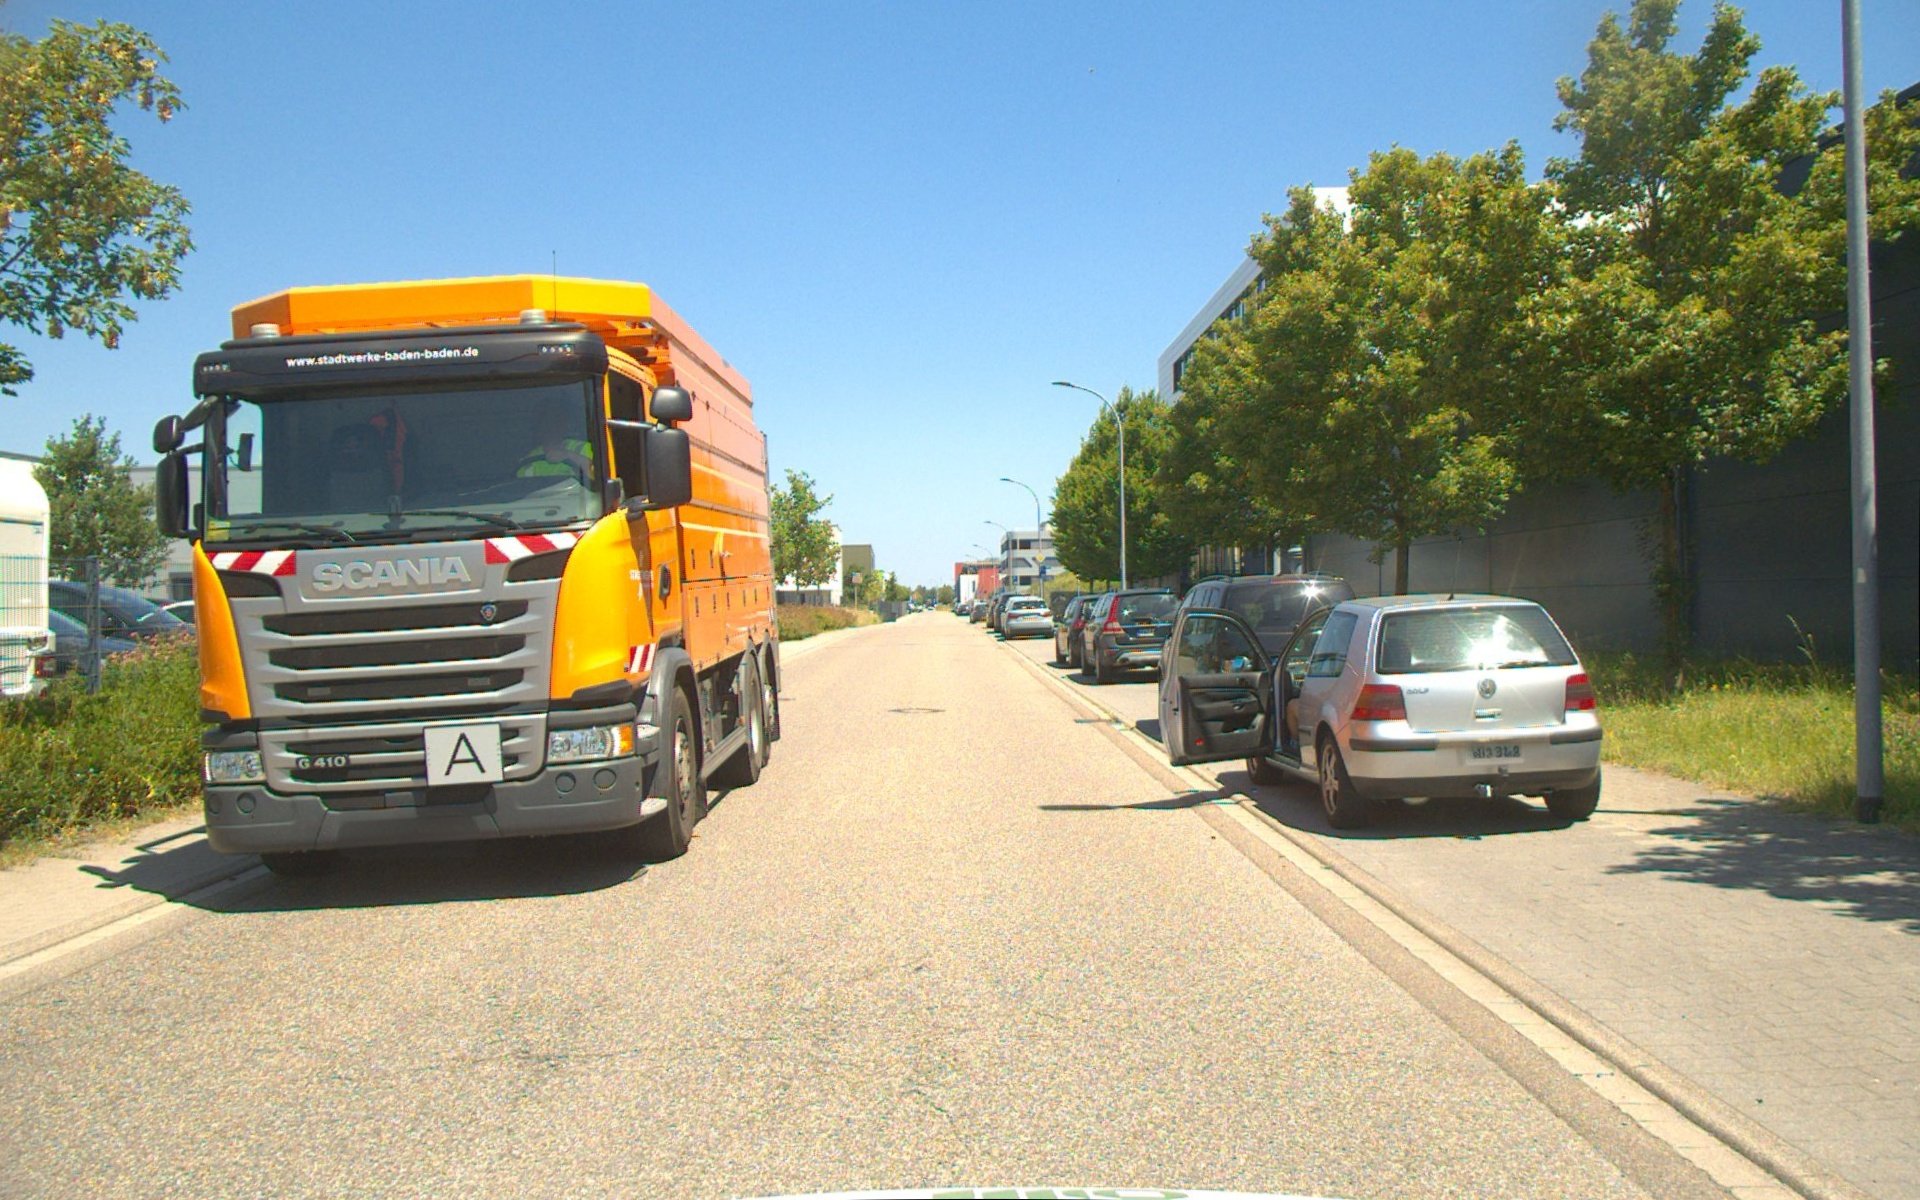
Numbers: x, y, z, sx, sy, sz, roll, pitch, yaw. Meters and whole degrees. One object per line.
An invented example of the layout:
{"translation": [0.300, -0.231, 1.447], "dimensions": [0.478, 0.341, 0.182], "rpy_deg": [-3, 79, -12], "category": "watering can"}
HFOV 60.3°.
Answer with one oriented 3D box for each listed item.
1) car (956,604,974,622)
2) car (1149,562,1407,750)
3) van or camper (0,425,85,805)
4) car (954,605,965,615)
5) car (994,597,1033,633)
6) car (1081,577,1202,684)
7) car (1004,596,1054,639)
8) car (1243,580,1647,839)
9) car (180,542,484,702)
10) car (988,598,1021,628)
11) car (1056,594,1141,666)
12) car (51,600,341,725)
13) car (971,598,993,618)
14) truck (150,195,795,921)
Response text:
{"translation": [0.418, 1.082, 138.686], "dimensions": [1.465, 1.434, 3.499], "rpy_deg": [-1, 0, -1], "category": "car"}
{"translation": [3.223, 0.525, 17.551], "dimensions": [1.645, 1.716, 3.996], "rpy_deg": [-1, 0, -5], "category": "car"}
{"translation": [-11.434, 0.209, 13.267], "dimensions": [7.235, 3.090, 2.789], "rpy_deg": [-1, 0, -2], "category": "van or camper"}
{"translation": [-0.063, 1.408, 233.945], "dimensions": [1.465, 1.434, 3.499], "rpy_deg": [-1, 0, -1], "category": "car"}
{"translation": [2.251, 0.630, 70.300], "dimensions": [1.465, 1.434, 3.499], "rpy_deg": [-1, 0, -1], "category": "car"}
{"translation": [3.166, 0.505, 29.465], "dimensions": [1.686, 1.724, 3.984], "rpy_deg": [-1, 0, 0], "category": "car"}
{"translation": [2.406, 0.610, 58.520], "dimensions": [1.553, 1.434, 3.499], "rpy_deg": [-1, 0, -1], "category": "car"}
{"translation": [3.186, 0.655, 11.628], "dimensions": [1.683, 1.475, 3.645], "rpy_deg": [-2, 0, -1], "category": "car"}
{"translation": [-11.122, 0.367, 29.570], "dimensions": [4.623, 2.631, 1.998], "rpy_deg": [-2, 0, -5], "category": "car"}
{"translation": [2.177, 0.637, 81.796], "dimensions": [1.465, 1.434, 3.499], "rpy_deg": [-1, 0, -1], "category": "car"}
{"translation": [2.962, 0.620, 35.797], "dimensions": [1.465, 1.434, 3.499], "rpy_deg": [-1, 0, -1], "category": "car"}
{"translation": [-10.869, 0.864, 23.678], "dimensions": [3.418, 1.639, 1.500], "rpy_deg": [-1, 0, -2], "category": "car"}
{"translation": [1.626, 0.559, 122.931], "dimensions": [1.465, 1.434, 3.499], "rpy_deg": [-1, 0, -1], "category": "car"}
{"translation": [-2.880, -0.239, 12.514], "dimensions": [2.399, 3.574, 8.271], "rpy_deg": [-2, 0, -1], "category": "truck"}
